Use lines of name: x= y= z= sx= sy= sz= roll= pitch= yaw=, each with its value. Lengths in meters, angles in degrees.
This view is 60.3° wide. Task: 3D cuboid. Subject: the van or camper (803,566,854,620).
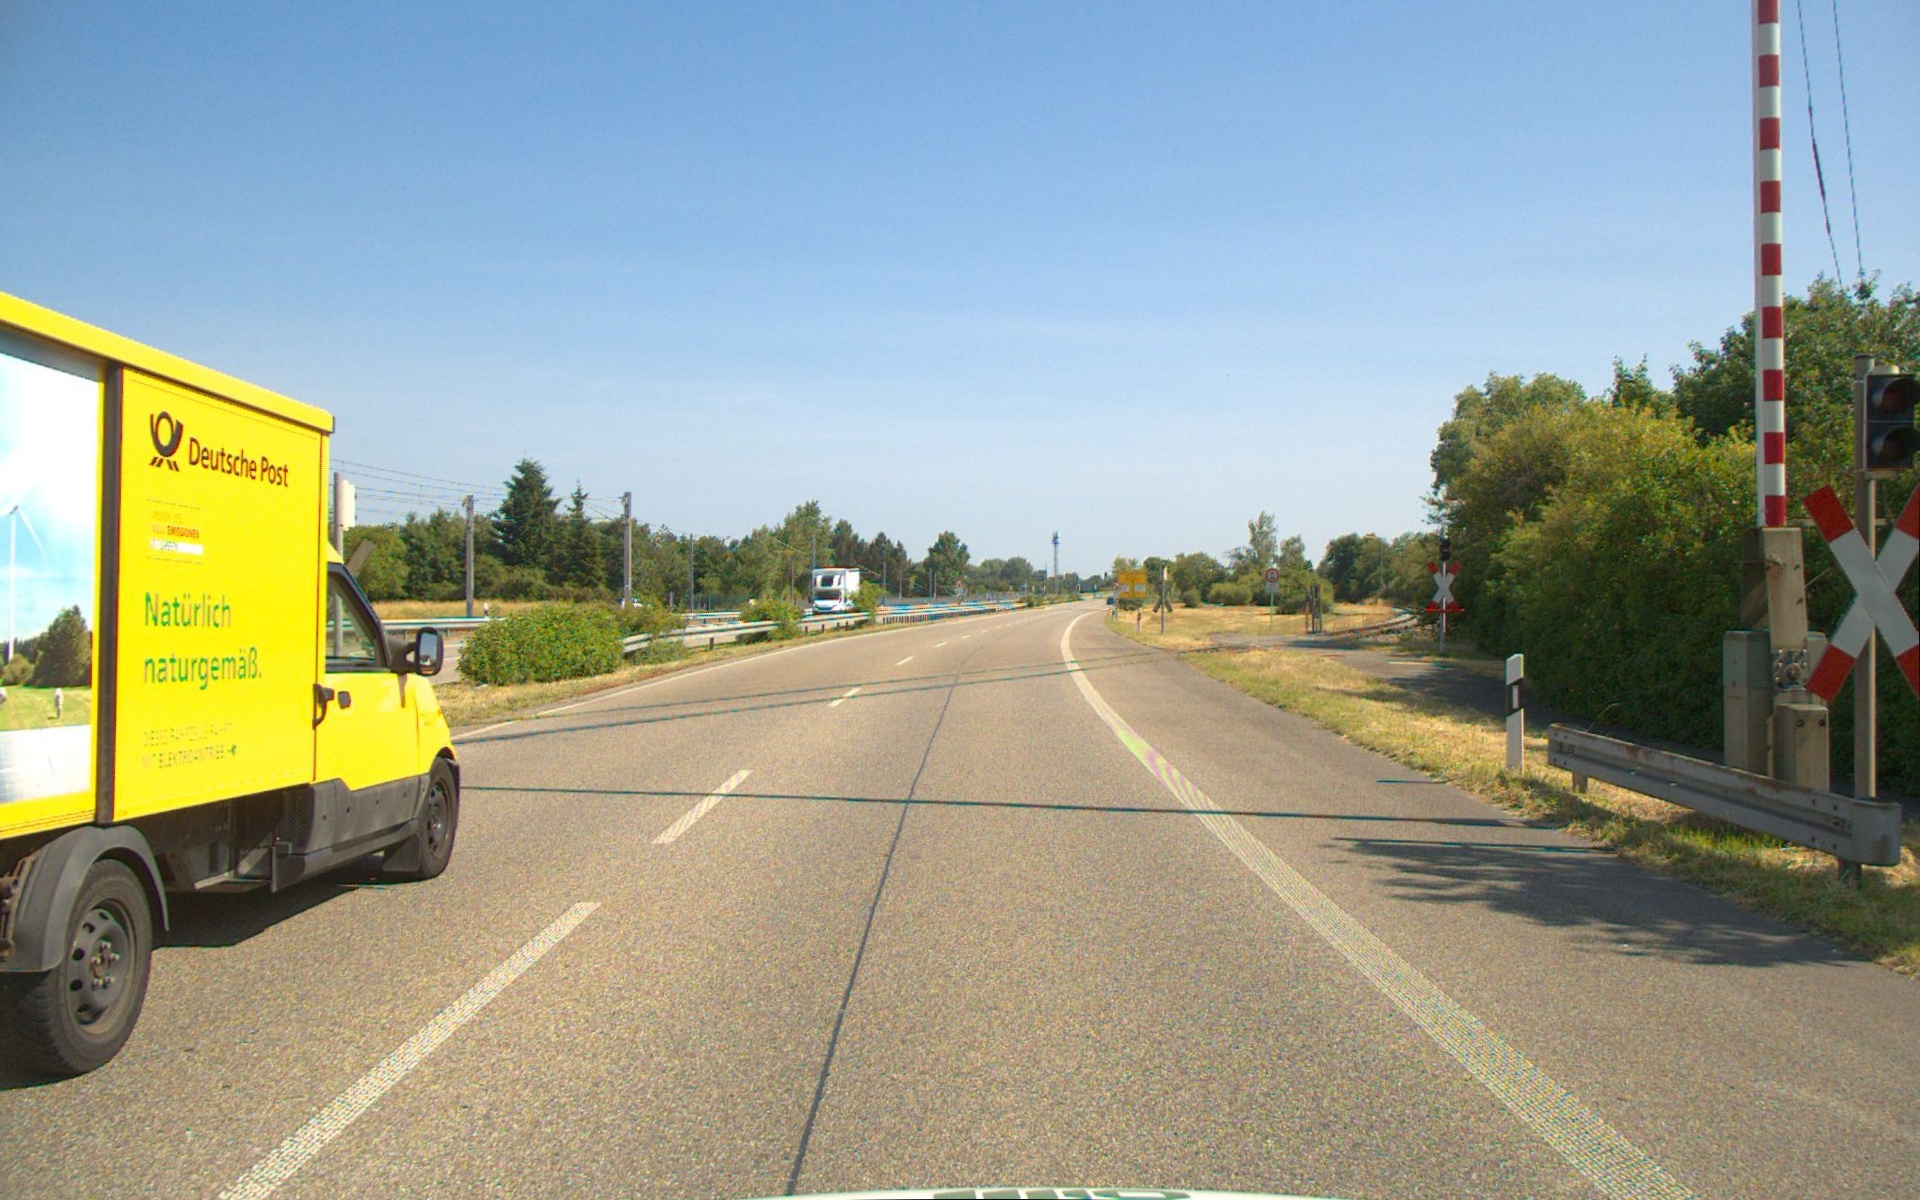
van or camper: x=-9.478 y=-0.523 z=119.682 sx=2.817 sy=3.745 sz=8.645 roll=0 pitch=0 yaw=1

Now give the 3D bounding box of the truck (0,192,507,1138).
truck: x=-3.579 y=0.158 z=6.329 sx=2.068 sy=2.500 sz=5.916 roll=1 pitch=0 yaw=0
